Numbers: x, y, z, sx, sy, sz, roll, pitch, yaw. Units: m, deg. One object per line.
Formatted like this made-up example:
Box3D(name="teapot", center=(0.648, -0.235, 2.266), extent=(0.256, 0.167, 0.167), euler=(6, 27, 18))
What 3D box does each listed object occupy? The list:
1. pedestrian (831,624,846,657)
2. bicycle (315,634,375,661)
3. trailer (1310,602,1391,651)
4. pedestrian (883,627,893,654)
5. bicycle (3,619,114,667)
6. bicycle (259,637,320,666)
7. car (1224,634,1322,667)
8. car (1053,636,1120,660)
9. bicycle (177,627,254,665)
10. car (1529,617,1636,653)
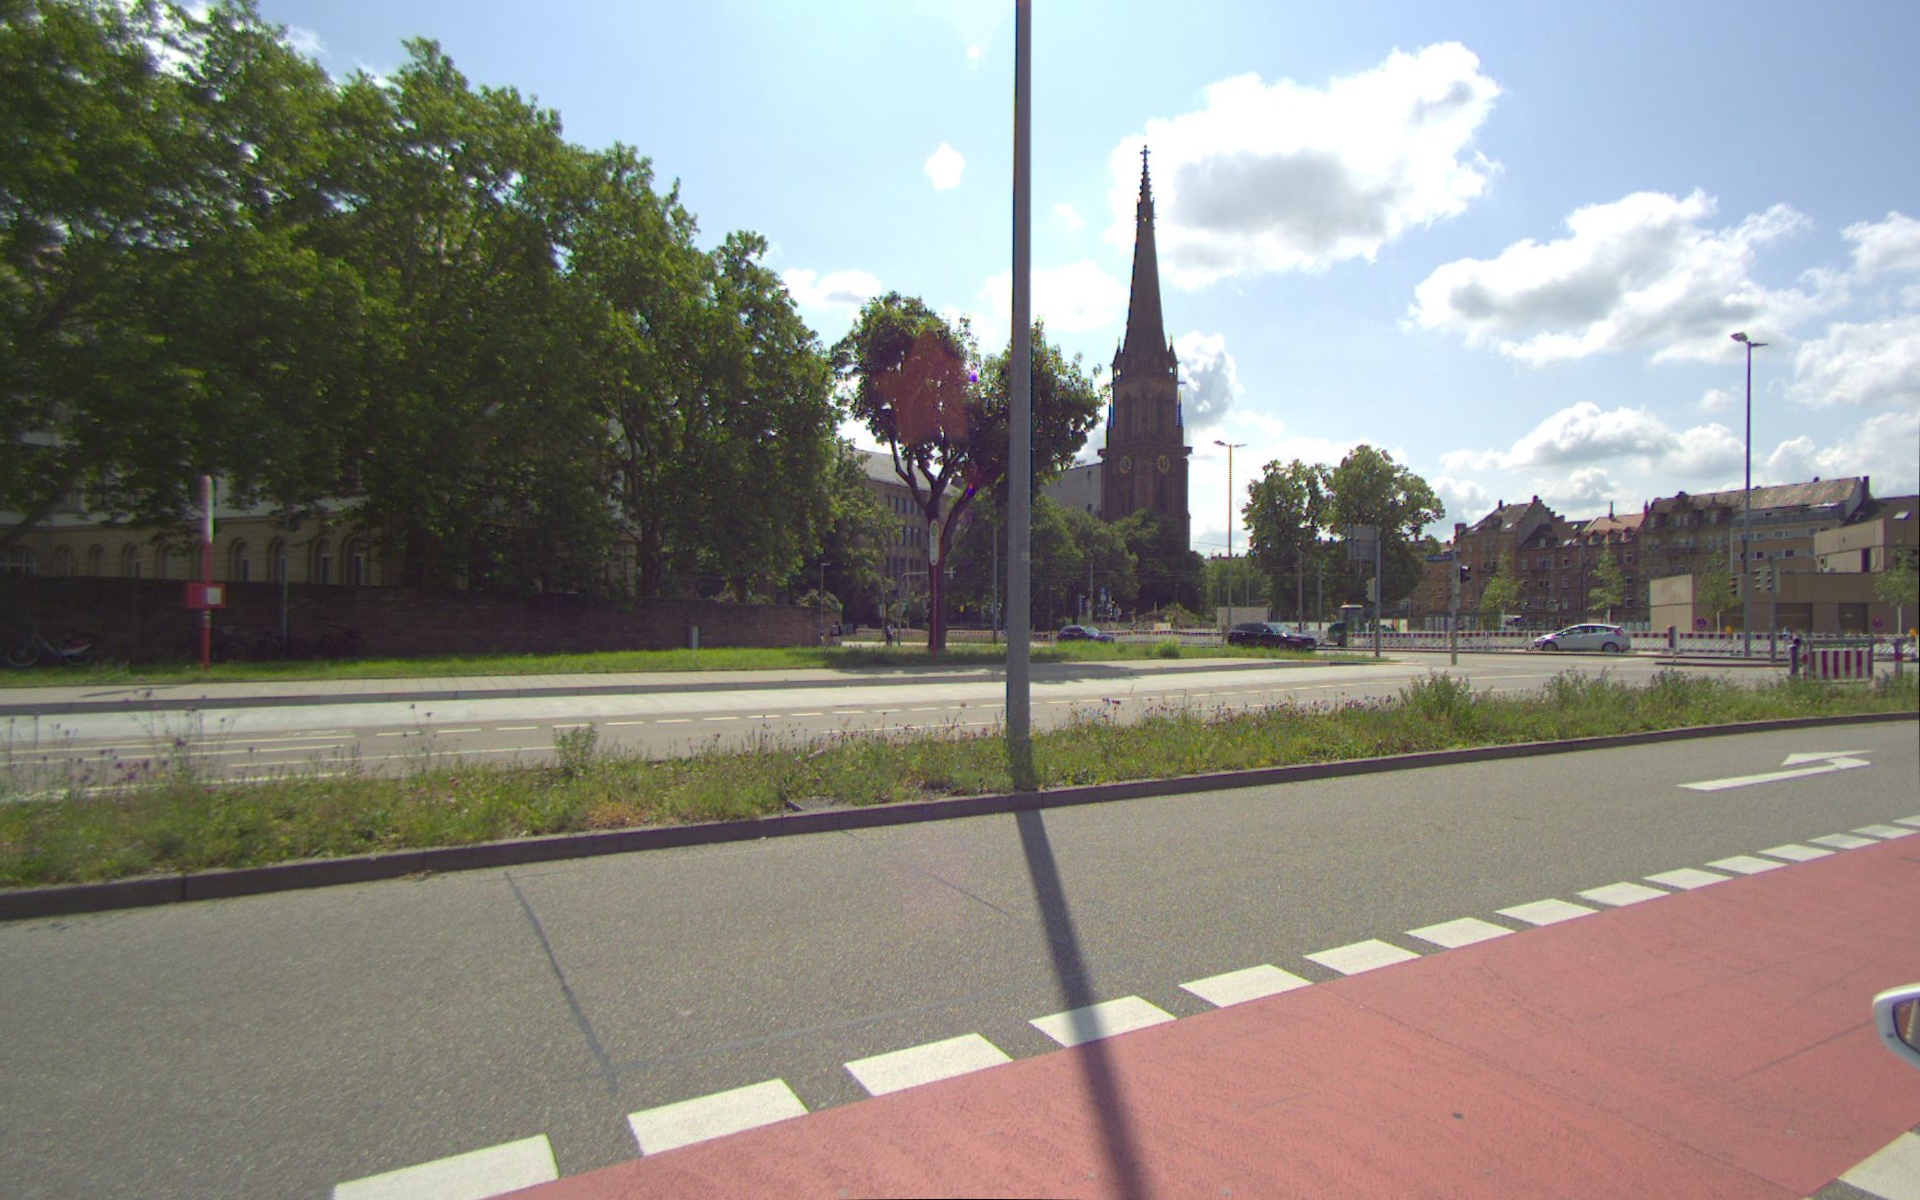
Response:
Box3D(name="pedestrian", center=(-6.548, 2.159, 54.013), extent=(0.479, 1.718, 0.679), euler=(2, 0, 21))
Box3D(name="bicycle", center=(-18.917, 1.465, 30.912), extent=(0.391, 0.799, 1.540), euler=(0, -1, 32))
Box3D(name="trailer", center=(24.585, 1.643, 63.331), extent=(4.278, 2.952, 2.001), euler=(2, 0, 6))
Box3D(name="pedestrian", center=(-5.096, 2.871, 71.090), extent=(0.561, 1.844, 0.436), euler=(1, 0, 42))
Box3D(name="bicycle", center=(-22.616, 1.064, 25.253), extent=(0.391, 1.152, 2.032), euler=(0, -1, 35))
Box3D(name="bicycle", center=(-19.748, 1.510, 29.619), extent=(0.391, 0.799, 1.462), euler=(0, -1, 32))
Box3D(name="car", center=(15.372, 2.461, 49.500), extent=(1.977, 1.505, 4.474), euler=(1, -2, -31))
Box3D(name="car", center=(8.569, 3.222, 68.304), extent=(1.980, 1.505, 4.623), euler=(1, -2, -35))
Box3D(name="bicycle", center=(-20.728, 1.269, 28.000), extent=(0.391, 1.043, 1.683), euler=(0, -1, 32))
Box3D(name="car", center=(29.685, 1.662, 47.952), extent=(3.963, 1.528, 1.988), euler=(1, -1, 45))
